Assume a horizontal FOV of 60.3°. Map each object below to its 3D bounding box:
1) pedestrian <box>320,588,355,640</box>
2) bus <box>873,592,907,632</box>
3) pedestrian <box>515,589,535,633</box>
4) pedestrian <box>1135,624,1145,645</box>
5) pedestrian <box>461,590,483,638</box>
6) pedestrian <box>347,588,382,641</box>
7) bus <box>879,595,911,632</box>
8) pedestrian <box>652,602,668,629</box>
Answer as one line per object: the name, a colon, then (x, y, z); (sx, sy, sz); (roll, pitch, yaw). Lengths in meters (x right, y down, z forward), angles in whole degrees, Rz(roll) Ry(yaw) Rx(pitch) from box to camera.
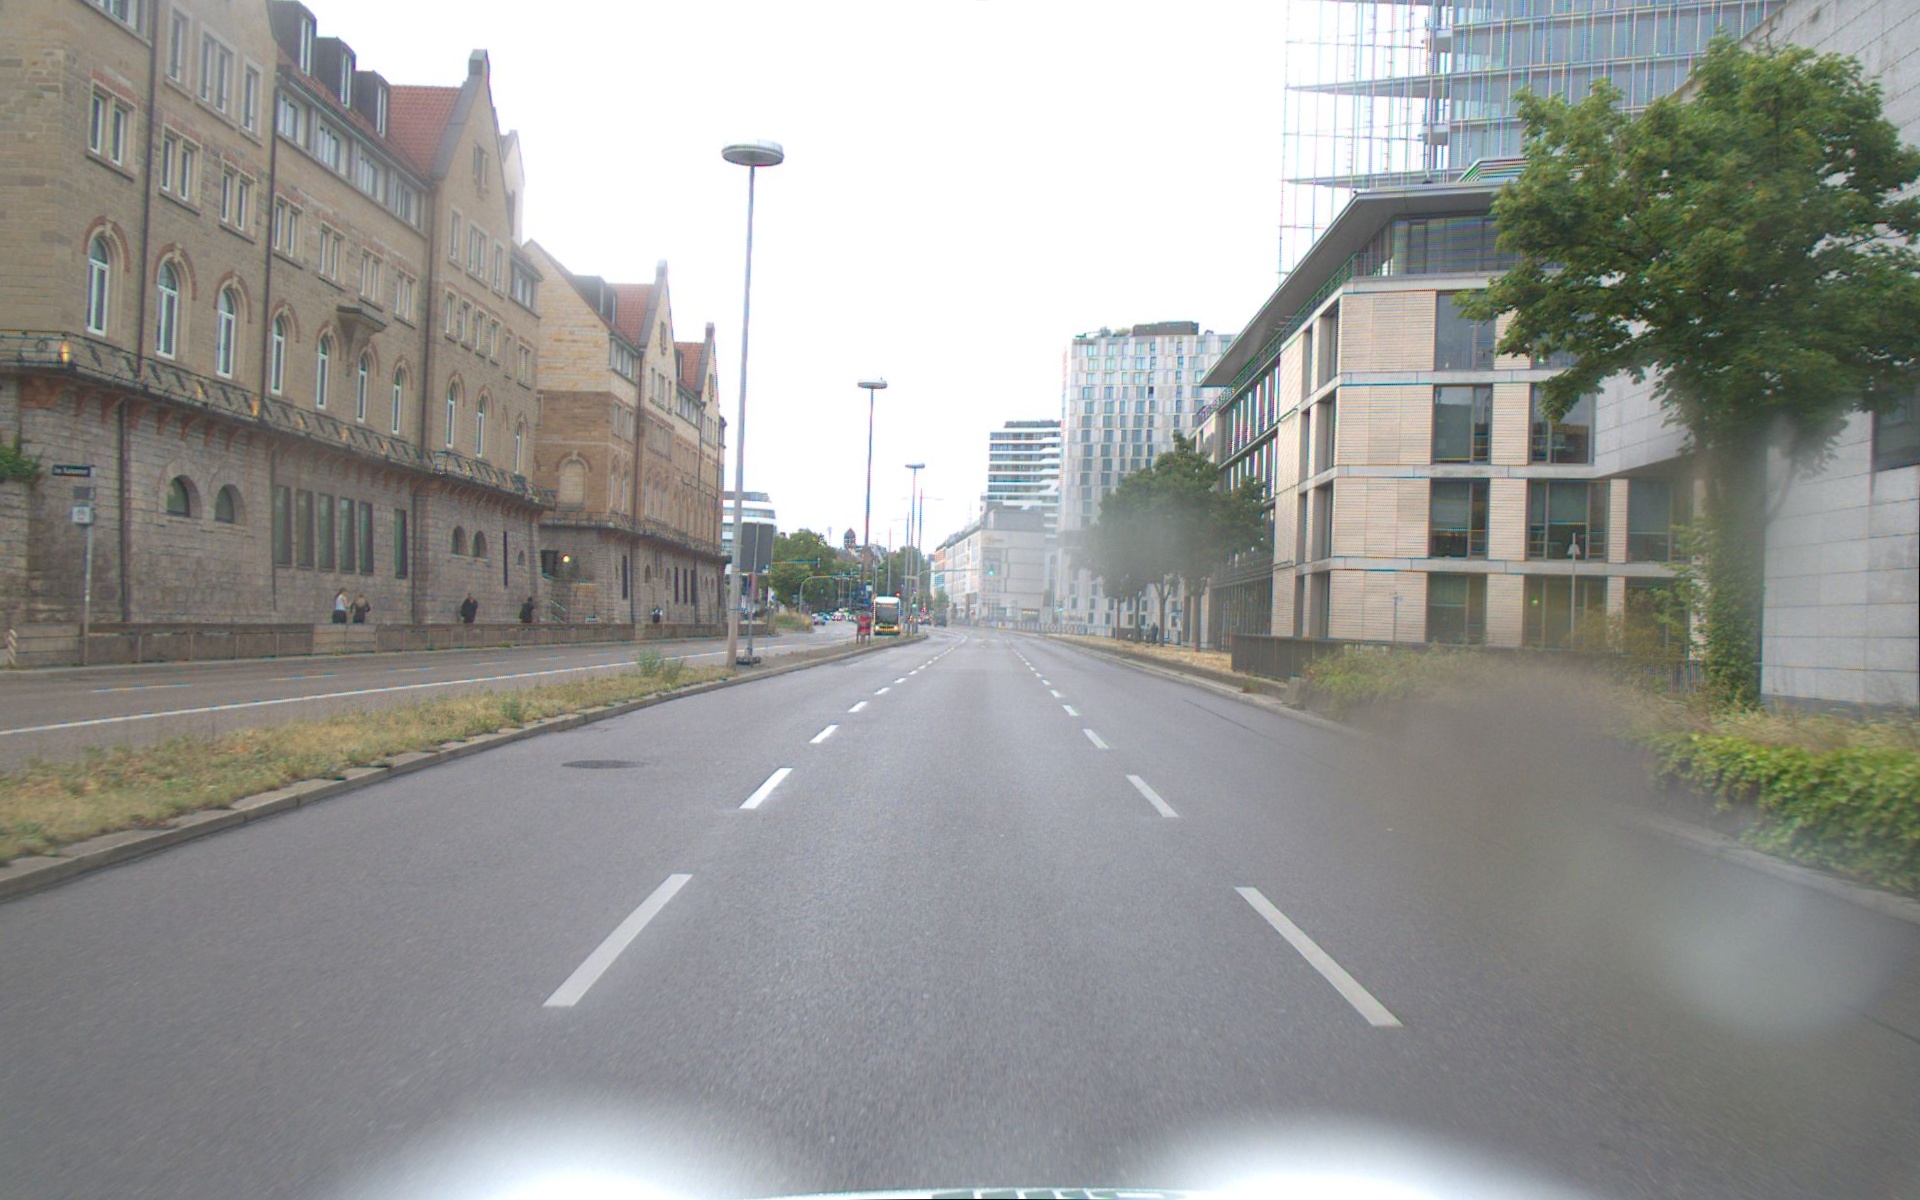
pedestrian: (-18.190, 0.405, 48.367); (0.738, 1.503, 0.714); (1, 0, 0)
bus: (-6.528, 1.207, 156.100); (2.643, 3.622, 10.093); (1, -1, 0)
pedestrian: (-17.907, 0.460, 68.126); (0.627, 1.776, 0.621); (1, 0, -1)
pedestrian: (14.107, 2.686, 129.814); (0.540, 1.605, 0.668); (1, 0, 35)
pedestrian: (-18.307, 0.523, 62.037); (0.627, 1.776, 0.621); (1, 0, -1)
pedestrian: (-17.415, 0.416, 48.375); (0.738, 1.503, 0.714); (1, 0, 0)
bus: (-6.490, 1.346, 166.466); (2.643, 3.622, 10.093); (1, 0, 0)
pedestrian: (-17.500, 0.901, 96.450); (0.738, 1.503, 0.714); (1, 0, 0)
